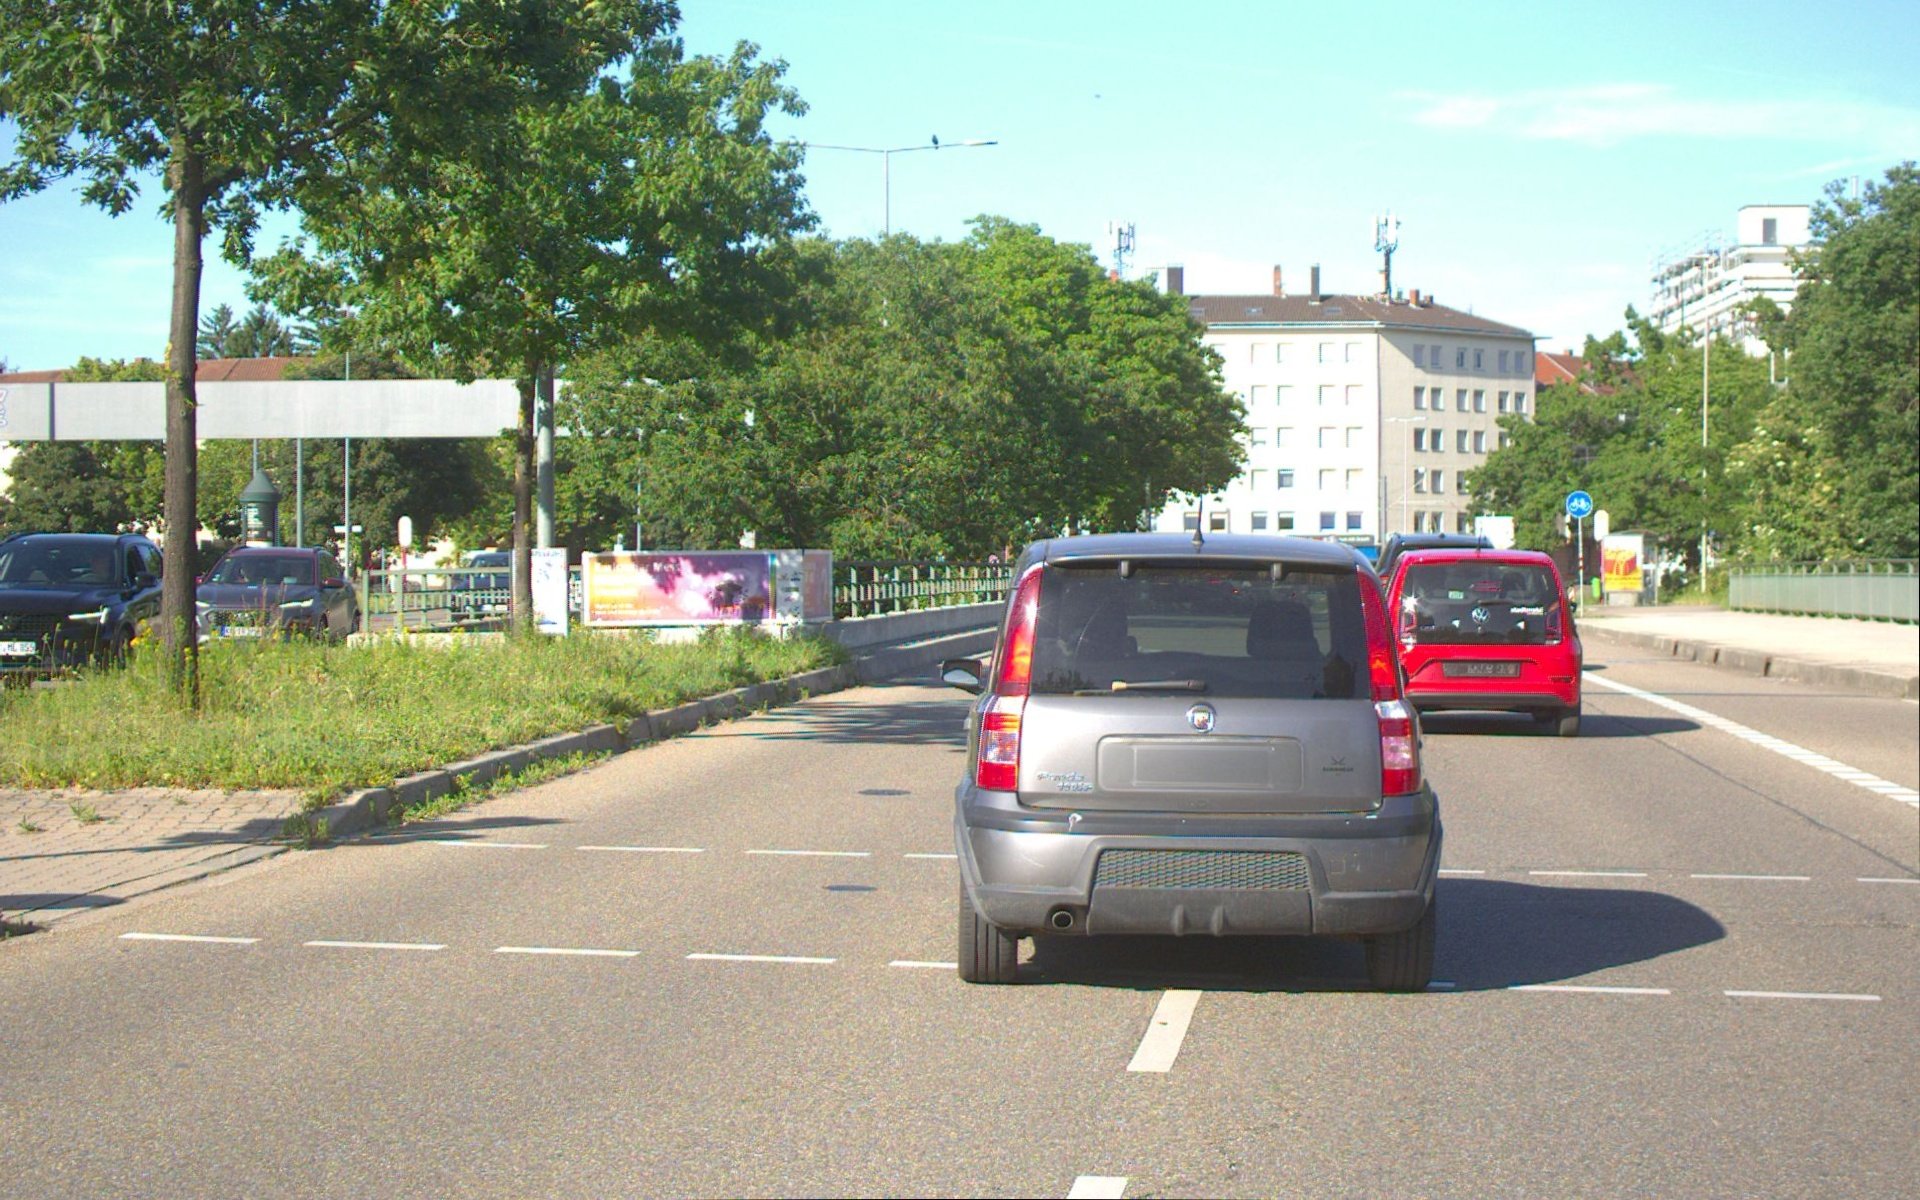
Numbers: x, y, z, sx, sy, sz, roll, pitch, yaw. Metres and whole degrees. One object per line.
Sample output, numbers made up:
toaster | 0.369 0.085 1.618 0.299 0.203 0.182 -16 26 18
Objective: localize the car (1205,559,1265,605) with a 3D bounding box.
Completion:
car | 9.466 -0.638 118.088 1.946 1.523 4.096 0 1 6

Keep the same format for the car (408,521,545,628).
car | -9.387 -0.493 67.072 1.993 2.007 4.334 0 0 1

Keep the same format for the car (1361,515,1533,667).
car | 6.307 -0.098 44.917 1.945 1.834 4.152 2 0 5

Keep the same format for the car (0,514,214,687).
car | -8.951 -0.029 34.546 1.936 1.617 4.506 0 1 0

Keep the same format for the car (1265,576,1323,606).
car | 17.124 -0.462 176.171 1.947 1.523 4.093 1 1 21

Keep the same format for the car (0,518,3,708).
car | -9.079 0.132 27.054 1.936 1.617 4.506 0 1 -1

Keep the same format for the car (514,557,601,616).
car | -10.458 -0.364 89.582 1.744 1.495 4.000 0 0 1

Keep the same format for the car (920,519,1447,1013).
car | 0.821 0.488 12.768 1.617 1.510 3.819 2 1 4

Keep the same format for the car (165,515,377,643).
car | -9.165 -0.300 46.053 1.936 1.617 4.506 0 1 0

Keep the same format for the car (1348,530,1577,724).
car | 4.098 0.177 28.476 1.618 1.458 3.750 2 1 5

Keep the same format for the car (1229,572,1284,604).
car | 14.502 -0.619 168.135 1.946 1.523 4.094 1 1 15
